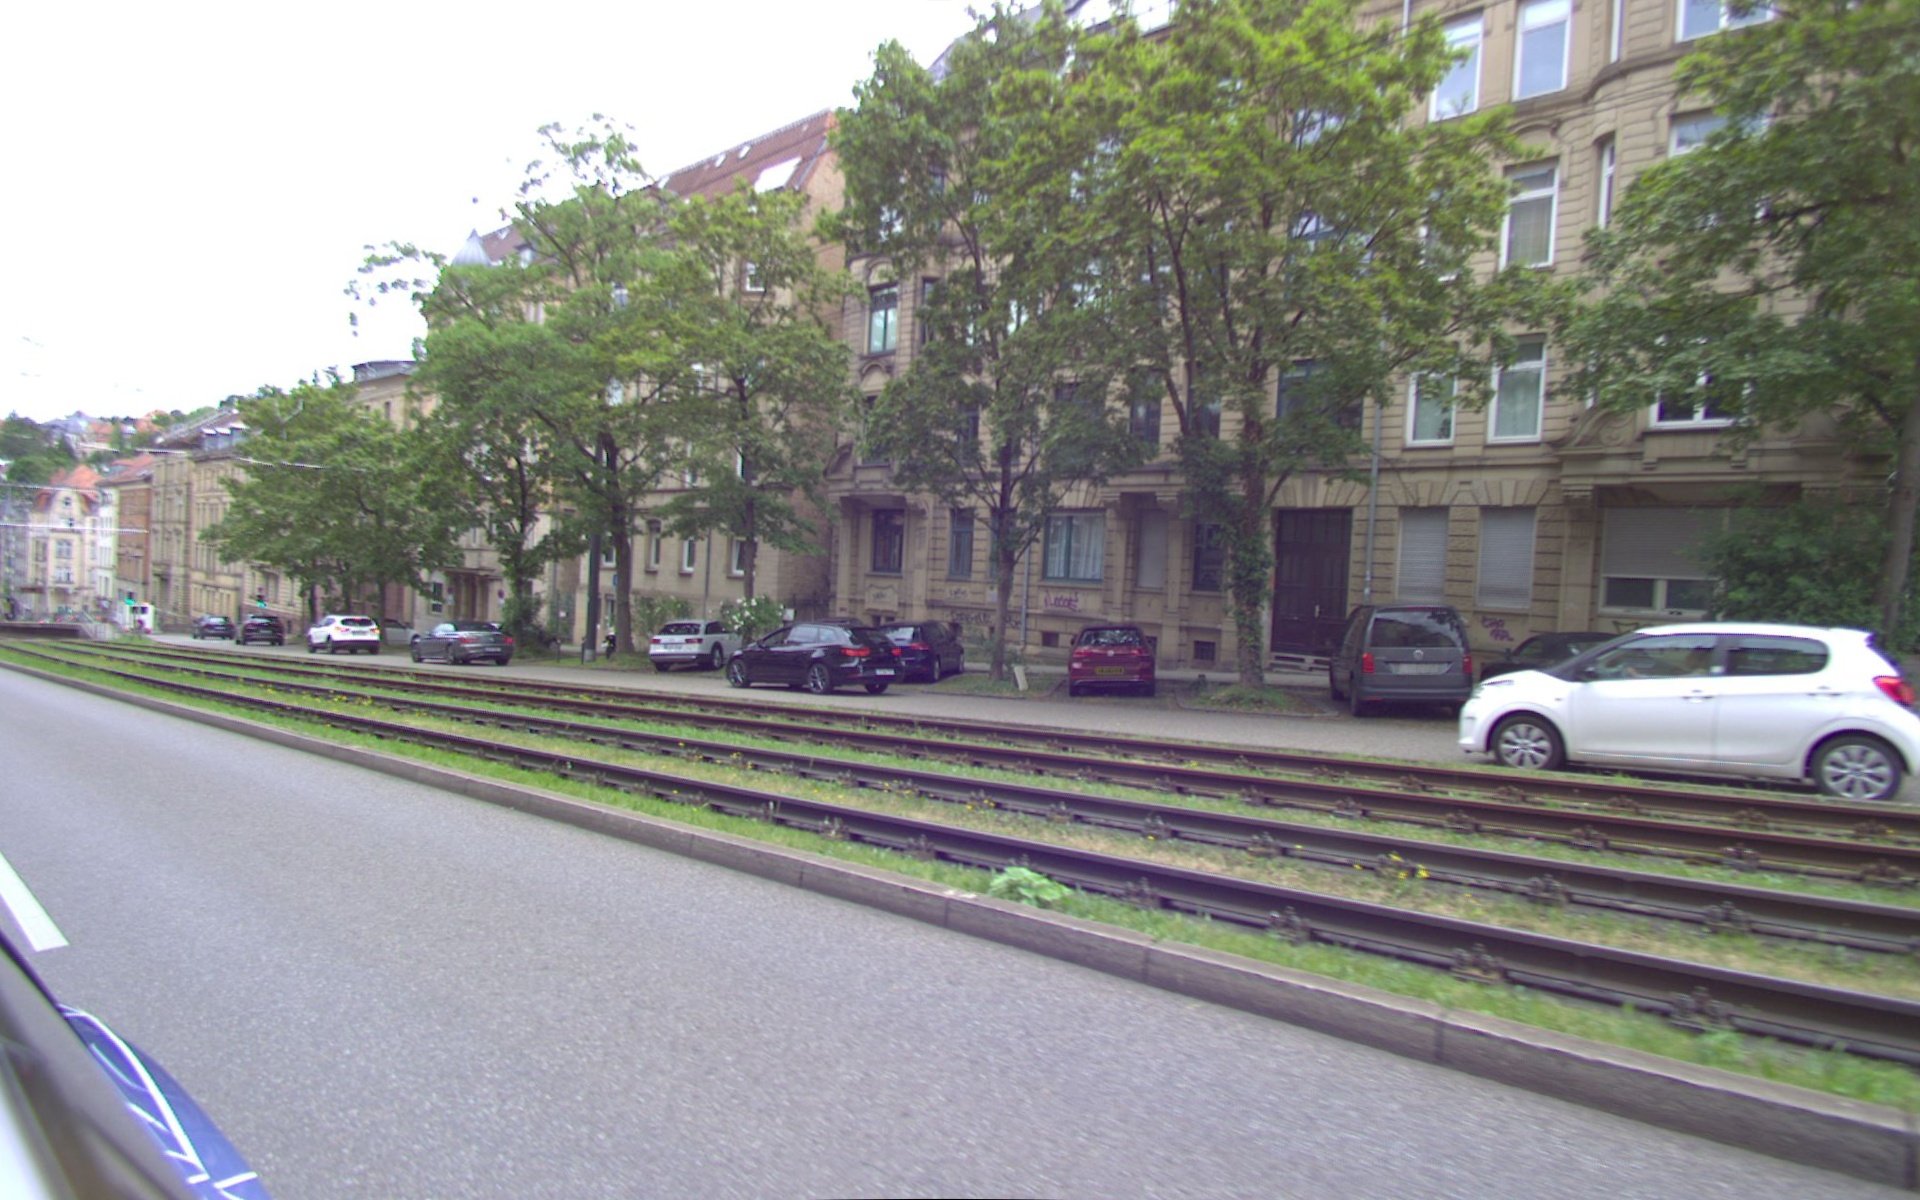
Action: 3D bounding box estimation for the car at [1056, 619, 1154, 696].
[{"bbox_3d":[3.155,1.148,21.433,1.852,1.446,4.176,0,-1,11],"label":"car"}]

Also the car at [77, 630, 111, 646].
[{"bbox_3d":[-84.924,3.708,99.242,4.744,1.439,1.731,-1,-3,40],"label":"car"}]

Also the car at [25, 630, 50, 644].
[{"bbox_3d":[-94.102,3.736,103.202,3.655,1.388,1.559,-1,-2,43],"label":"car"}]

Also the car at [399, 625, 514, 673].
[{"bbox_3d":[-16.371,1.553,32.820,4.596,1.421,1.706,-1,-3,42],"label":"car"}]

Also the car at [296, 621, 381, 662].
[{"bbox_3d":[-25.766,1.701,41.912,4.344,1.629,1.761,-1,-3,41],"label":"car"}]

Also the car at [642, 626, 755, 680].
[{"bbox_3d":[-7.708,1.530,30.227,1.766,1.481,4.143,1,-2,9],"label":"car"}]

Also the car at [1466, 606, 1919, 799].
[{"bbox_3d":[6.614,0.825,9.118,3.410,1.446,1.571,-1,-3,41],"label":"car"}]

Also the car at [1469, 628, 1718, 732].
[{"bbox_3d":[9.506,1.125,15.629,1.852,1.350,4.176,0,-1,11],"label":"car"}]

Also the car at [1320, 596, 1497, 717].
[{"bbox_3d":[7.429,0.891,17.222,1.852,1.781,4.176,0,-1,11],"label":"car"}]

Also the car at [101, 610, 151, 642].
[{"bbox_3d":[-73.219,2.270,88.843,6.516,2.720,2.366,-1,-4,42],"label":"car"}]

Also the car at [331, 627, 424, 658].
[{"bbox_3d":[-27.983,2.019,48.771,1.766,1.433,3.988,0,-1,10],"label":"car"}]

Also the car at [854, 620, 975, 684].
[{"bbox_3d":[-1.012,1.232,25.052,1.854,1.446,4.171,0,-1,15],"label":"car"}]

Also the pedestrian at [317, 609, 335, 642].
[{"bbox_3d":[-39.100,1.560,62.372,0.796,2.029,0.713,-2,-2,39],"label":"pedestrian"}]

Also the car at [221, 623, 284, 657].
[{"bbox_3d":[-37.413,2.093,53.492,4.241,1.669,1.761,-1,-3,41],"label":"car"}]

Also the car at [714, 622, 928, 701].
[{"bbox_3d":[-2.961,1.226,20.985,4.491,1.446,1.846,-1,-4,41],"label":"car"}]

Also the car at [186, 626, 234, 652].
[{"bbox_3d":[-49.827,2.563,67.185,4.472,1.663,1.859,-2,-4,45],"label":"car"}]

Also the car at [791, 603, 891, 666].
[{"bbox_3d":[-3.190,0.925,27.961,1.849,1.585,4.183,0,-1,6],"label":"car"}]

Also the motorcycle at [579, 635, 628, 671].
[{"bbox_3d":[-11.668,1.725,33.184,0.618,1.066,2.201,0,0,7],"label":"motorcycle"}]
